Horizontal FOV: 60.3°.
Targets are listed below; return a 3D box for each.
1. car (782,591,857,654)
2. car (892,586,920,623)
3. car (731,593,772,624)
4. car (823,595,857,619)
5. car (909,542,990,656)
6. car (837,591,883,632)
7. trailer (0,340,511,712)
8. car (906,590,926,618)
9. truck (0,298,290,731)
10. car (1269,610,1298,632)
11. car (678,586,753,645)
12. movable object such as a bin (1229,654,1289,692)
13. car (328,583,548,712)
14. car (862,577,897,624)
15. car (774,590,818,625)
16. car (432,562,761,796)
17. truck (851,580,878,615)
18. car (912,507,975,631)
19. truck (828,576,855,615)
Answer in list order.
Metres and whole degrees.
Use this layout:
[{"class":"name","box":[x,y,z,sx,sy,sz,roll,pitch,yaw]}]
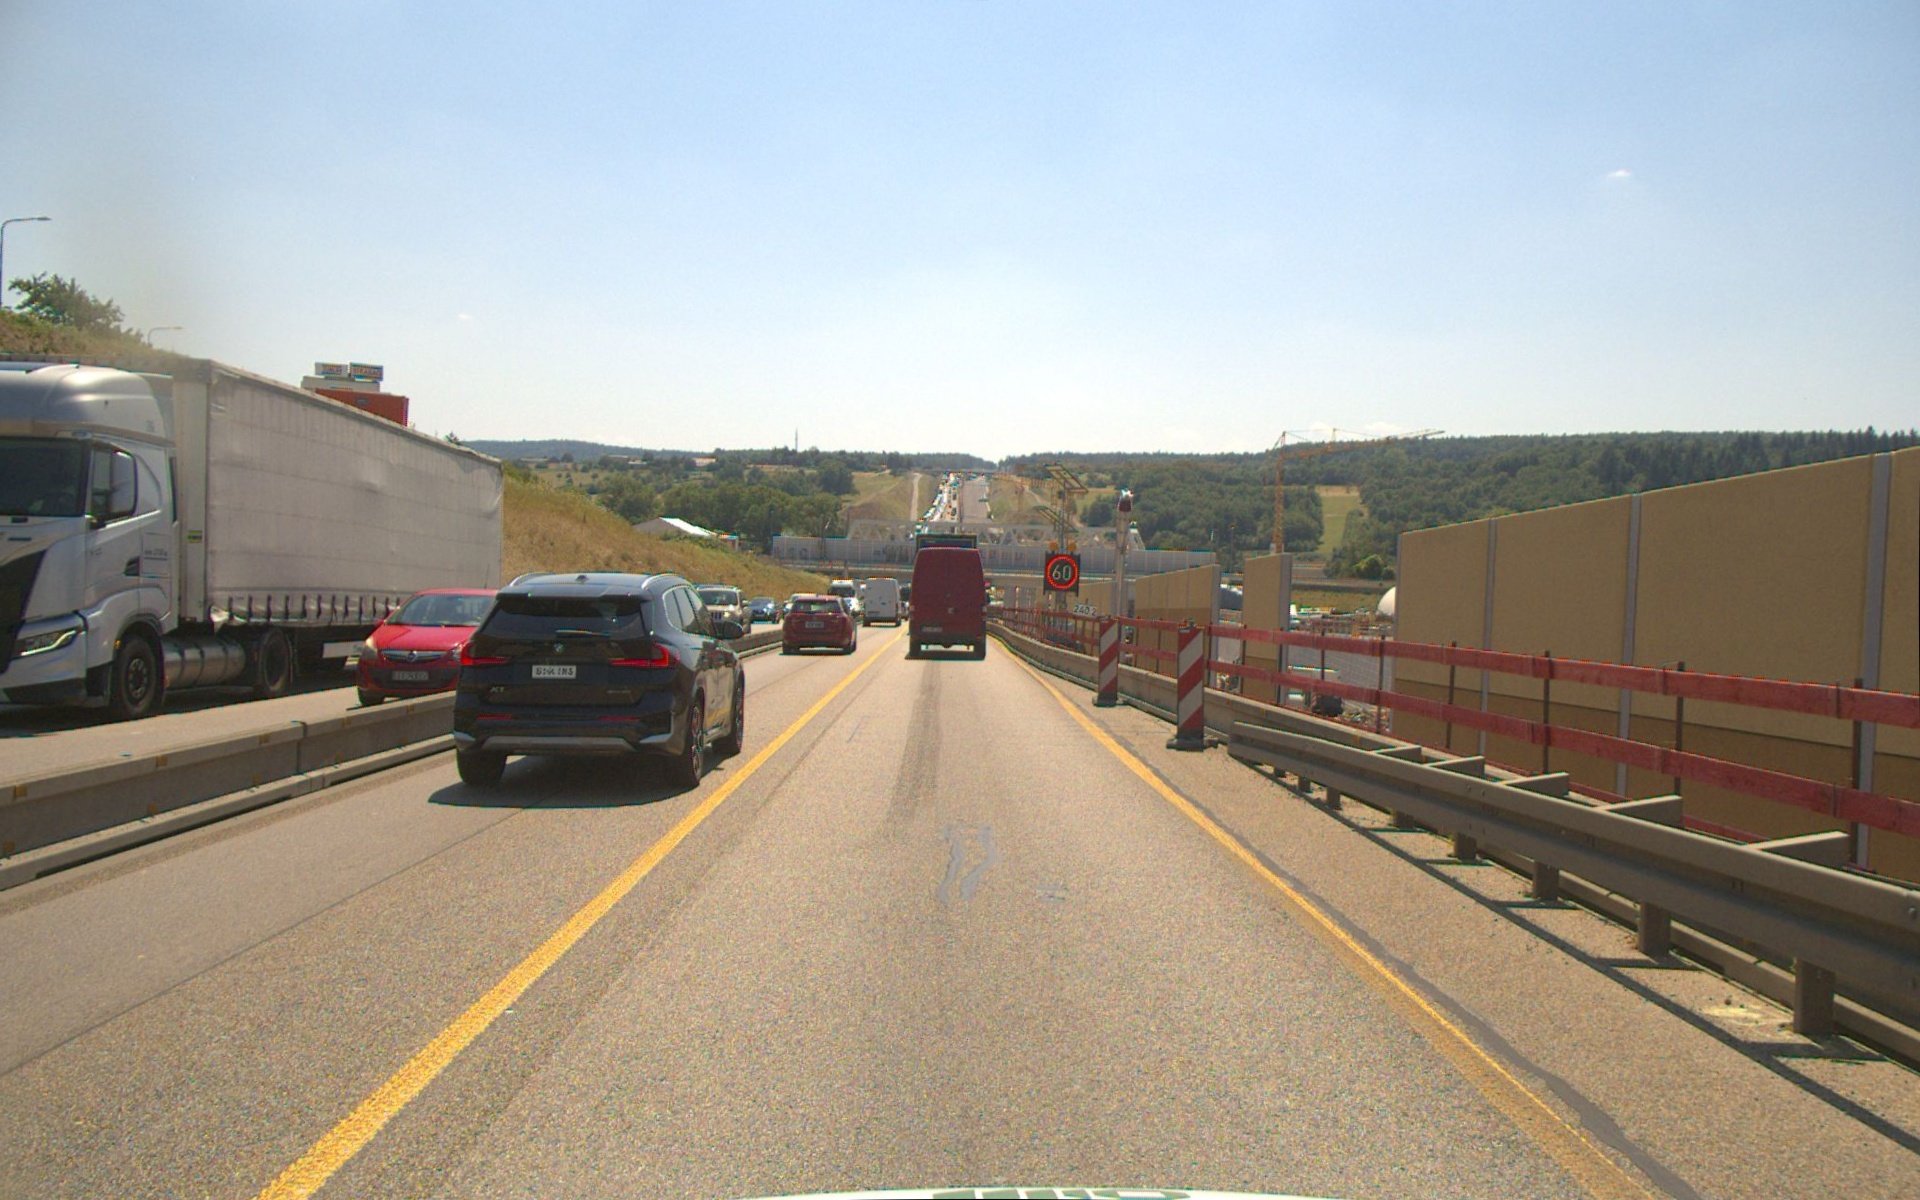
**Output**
[{"class":"car","box":[-3.585,0.560,42.812,1.740,1.544,4.204,0,0,-3]},{"class":"car","box":[-3.508,0.278,108.494,1.740,2.370,4.205,0,0,-1]},{"class":"car","box":[-11.406,0.475,90.621,1.650,1.613,5.125,1,0,-1]},{"class":"car","box":[-8.015,0.457,110.692,1.915,1.525,5.089,1,0,-1]},{"class":"car","box":[-0.286,-0.019,42.335,1.948,2.737,4.622,0,0,-1]},{"class":"car","box":[-4.246,0.468,70.812,1.802,1.683,4.163,0,0,-2]},{"class":"trailer","box":[-10.213,-0.882,26.024,2.729,4.255,13.975,1,0,-1]},{"class":"car","box":[-3.851,0.322,144.961,1.740,2.370,4.205,0,0,-1]},{"class":"truck","box":[-10.064,-0.864,18.890,2.690,4.255,5.287,1,0,-1]},{"class":"car","box":[32.352,2.072,165.474,1.769,2.049,4.823,1,0,-3]},{"class":"car","box":[-7.322,0.450,49.933,1.796,1.695,4.412,1,0,-3]},{"class":"movable object such as a bin","box":[23.092,5.581,128.120,3.099,2.488,7.894,3,0,0]},{"class":"car","box":[-6.655,0.552,21.503,1.636,1.492,3.999,1,0,-1]},{"class":"car","box":[-4.339,0.037,89.717,1.740,2.484,4.205,0,0,-1]},{"class":"car","box":[-8.318,0.357,84.254,1.802,1.683,5.369,0,0,-1]},{"class":"car","box":[-2.840,0.560,13.968,1.841,1.646,4.498,0,0,-1]},{"class":"truck","box":[-9.842,-0.234,170.545,2.486,3.433,7.036,1,0,-1]},{"class":"car","box":[-0.761,-1.268,73.506,2.568,5.120,10.394,0,0,-1]},{"class":"truck","box":[-12.842,-0.515,178.969,2.643,4.121,3.954,1,0,-1]}]
